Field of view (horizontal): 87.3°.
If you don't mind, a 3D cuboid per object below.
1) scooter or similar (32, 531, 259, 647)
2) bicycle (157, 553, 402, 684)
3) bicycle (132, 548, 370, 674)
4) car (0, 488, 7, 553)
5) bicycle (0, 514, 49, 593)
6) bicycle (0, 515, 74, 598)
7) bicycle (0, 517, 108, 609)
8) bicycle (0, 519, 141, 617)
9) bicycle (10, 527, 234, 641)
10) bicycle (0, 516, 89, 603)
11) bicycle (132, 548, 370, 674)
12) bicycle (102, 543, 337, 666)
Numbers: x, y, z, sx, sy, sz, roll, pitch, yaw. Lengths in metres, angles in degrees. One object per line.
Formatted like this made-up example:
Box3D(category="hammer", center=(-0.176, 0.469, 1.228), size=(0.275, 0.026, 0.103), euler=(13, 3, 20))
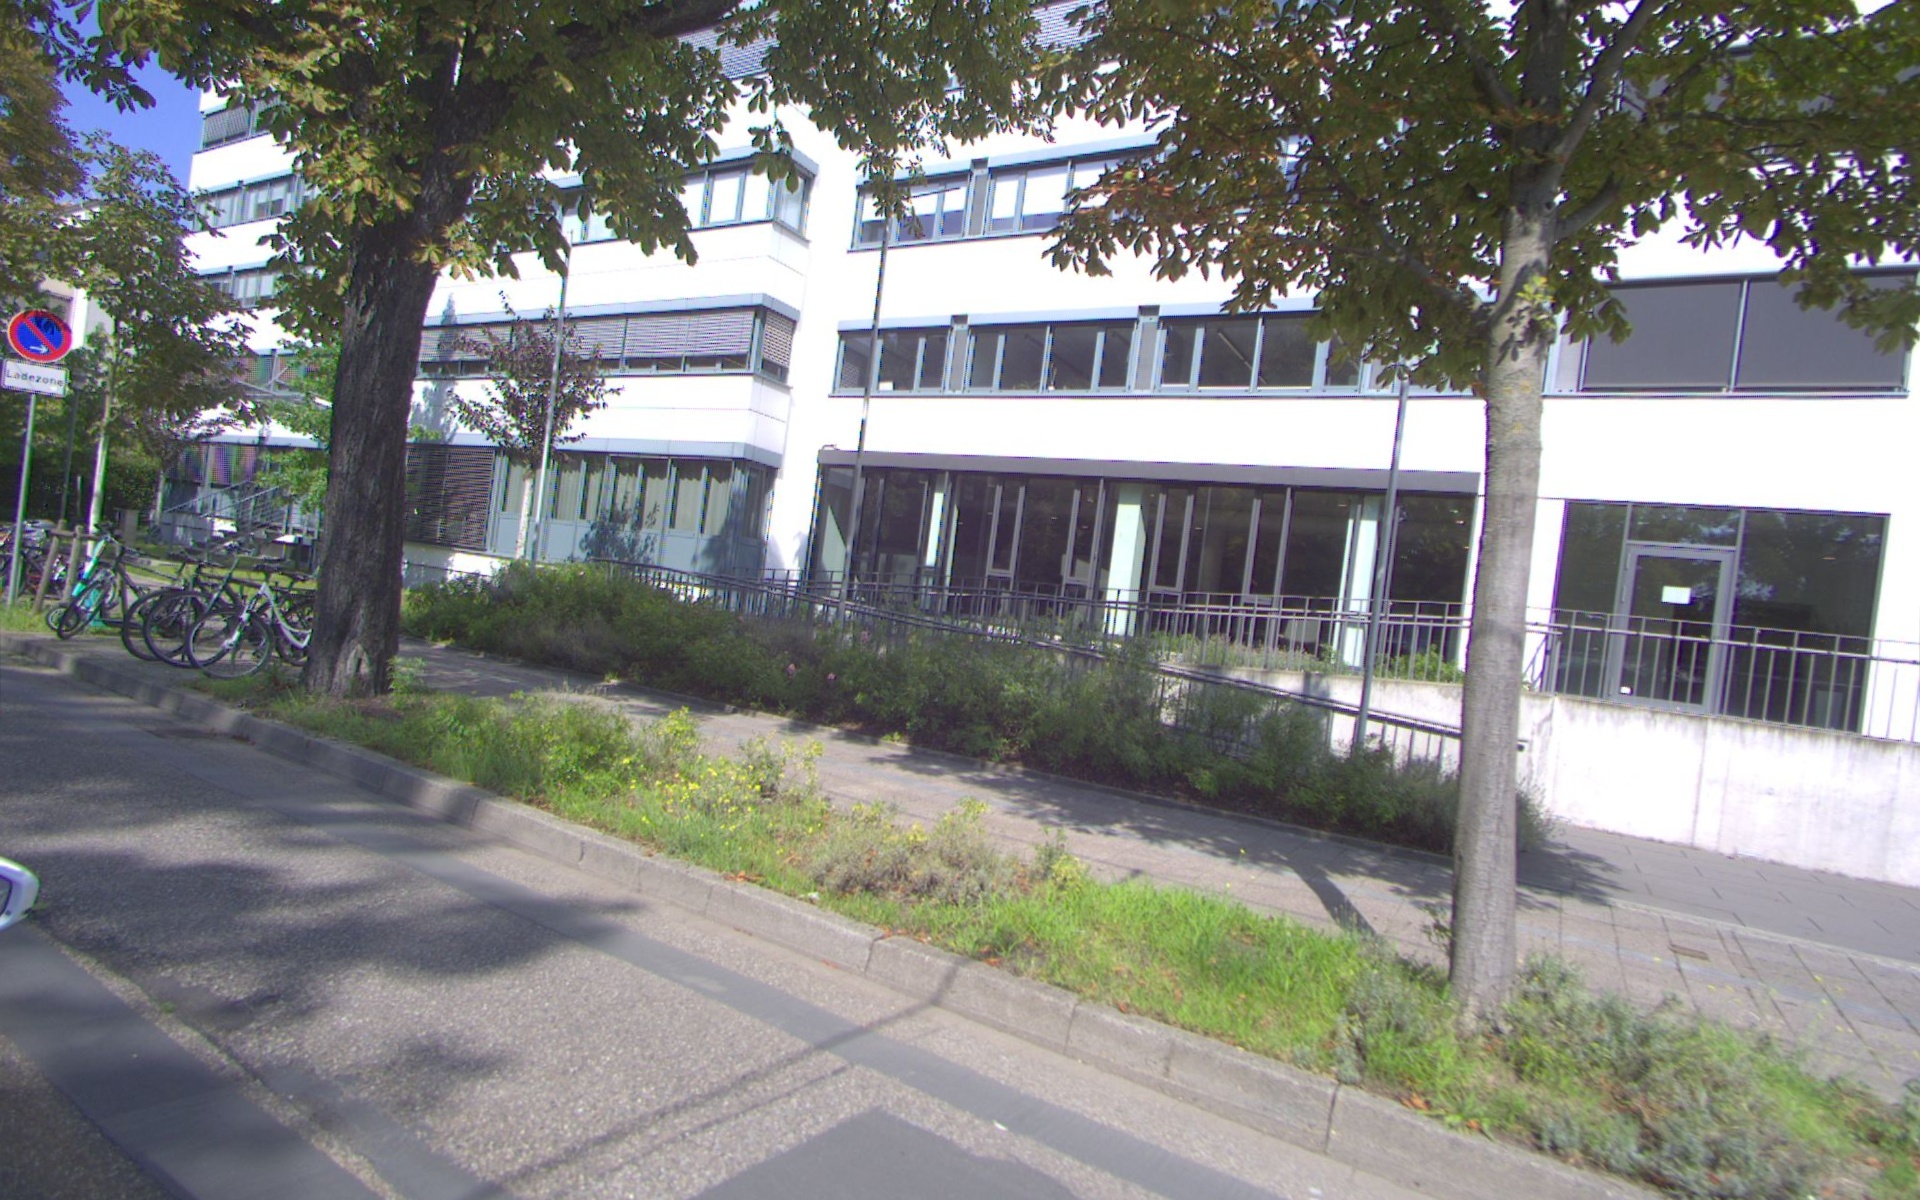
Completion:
Box3D(category="scooter or similar", center=(-8.784, -0.082, 10.938), size=(0.531, 1.085, 1.773), euler=(7, 0, 30))
Box3D(category="bicycle", center=(-6.326, 0.211, 9.465), size=(0.531, 1.085, 1.773), euler=(7, 0, 30))
Box3D(category="bicycle", center=(-6.881, 0.147, 9.864), size=(0.531, 1.085, 1.773), euler=(7, 0, 30))
Box3D(category="car", center=(-16.592, -1.209, 15.428), size=(4.203, 1.480, 1.758), euler=(7, 0, 32))
Box3D(category="bicycle", center=(-14.230, -0.730, 14.282), size=(0.531, 1.085, 1.773), euler=(7, 0, 30))
Box3D(category="bicycle", center=(-13.555, -0.648, 13.935), size=(0.531, 1.085, 1.773), euler=(7, 0, 30))
Box3D(category="bicycle", center=(-12.359, -0.509, 13.103), size=(0.531, 1.085, 1.773), euler=(7, 0, 30))
Box3D(category="bicycle", center=(-11.443, -0.400, 12.534), size=(0.531, 1.085, 1.773), euler=(7, 0, 30))
Box3D(category="bicycle", center=(-9.283, -0.142, 11.224), size=(0.531, 1.085, 1.773), euler=(7, 0, 30))
Box3D(category="bicycle", center=(-13.008, -0.584, 13.564), size=(0.531, 1.085, 1.773), euler=(7, 0, 30))
Box3D(category="bicycle", center=(-6.894, 0.145, 9.885), size=(0.531, 1.085, 1.773), euler=(7, 0, 30))
Box3D(category="bicycle", center=(-7.396, 0.084, 10.146), size=(0.531, 1.085, 1.773), euler=(7, 0, 30))
